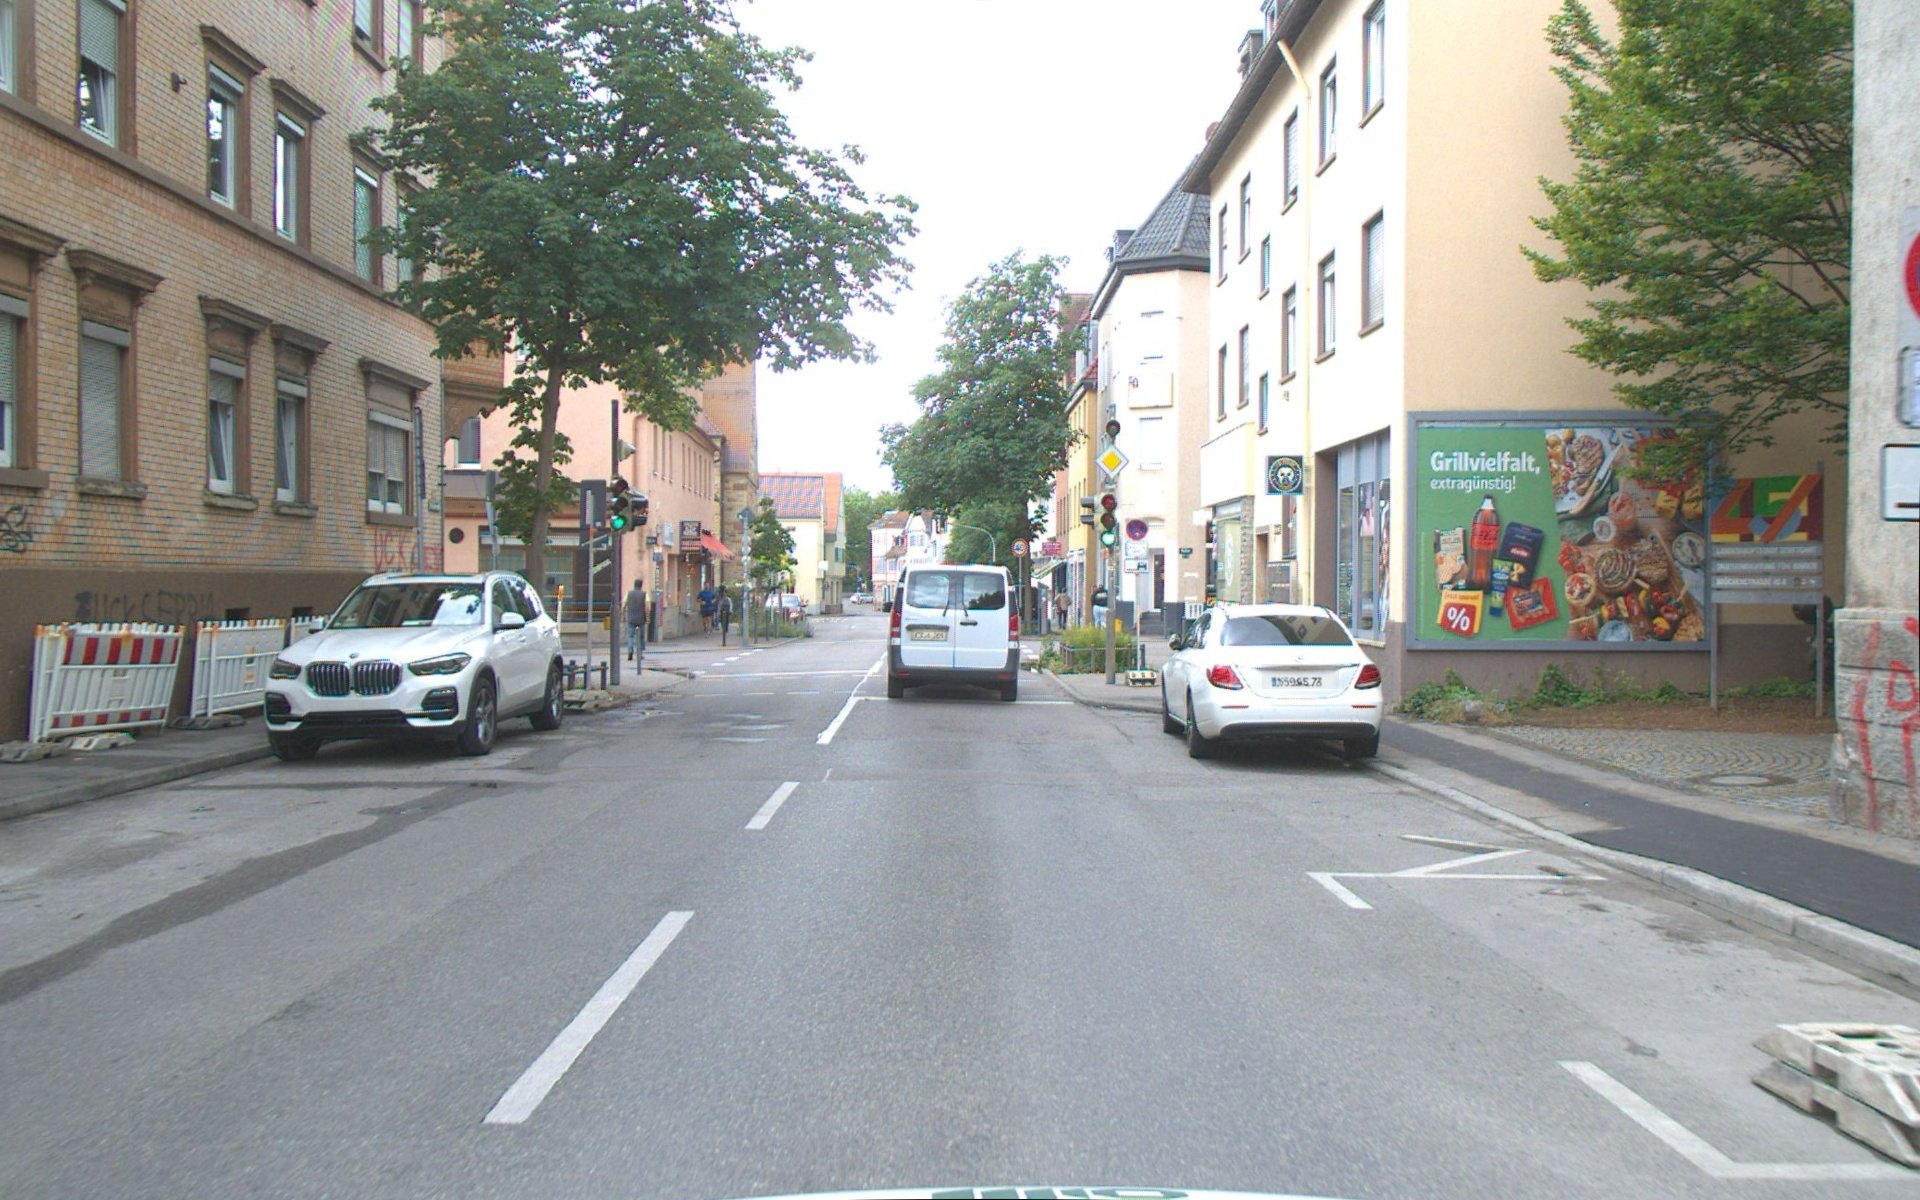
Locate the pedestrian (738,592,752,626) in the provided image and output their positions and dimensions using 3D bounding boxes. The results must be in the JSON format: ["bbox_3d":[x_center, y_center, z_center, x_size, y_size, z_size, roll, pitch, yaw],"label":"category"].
[{"bbox_3d":[-10.000,0.408,76.990,0.559,1.581,0.696,1,0,-2],"label":"pedestrian"}]

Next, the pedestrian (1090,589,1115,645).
[{"bbox_3d":[4.373,0.518,50.787,0.602,1.682,0.982,0,0,-3],"label":"pedestrian"}]

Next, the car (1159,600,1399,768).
[{"bbox_3d":[3.162,0.753,17.291,1.731,1.491,4.784,0,0,2],"label":"car"}]

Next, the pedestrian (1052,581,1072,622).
[{"bbox_3d":[4.194,0.063,68.105,0.687,1.678,0.888,-1,0,-3],"label":"pedestrian"}]

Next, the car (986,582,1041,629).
[{"bbox_3d":[2.116,0.230,66.151,1.783,1.812,4.399,0,0,-4],"label":"car"}]

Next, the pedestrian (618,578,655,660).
[{"bbox_3d":[-7.123,0.418,36.442,0.724,1.785,0.981,0,0,-6],"label":"pedestrian"}]

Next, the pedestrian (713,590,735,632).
[{"bbox_3d":[-8.795,0.392,61.734,0.724,1.561,0.982,0,0,-3],"label":"pedestrian"}]

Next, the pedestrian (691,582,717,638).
[{"bbox_3d":[-8.135,0.303,52.558,0.724,1.748,1.155,0,0,-4],"label":"pedestrian"}]

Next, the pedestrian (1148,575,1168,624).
[{"bbox_3d":[6.542,-0.017,54.646,0.555,1.588,0.520,1,-1,-2],"label":"pedestrian"}]

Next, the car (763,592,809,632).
[{"bbox_3d":[-7.464,0.481,71.091,1.669,1.601,4.448,-2,0,-3],"label":"car"}]

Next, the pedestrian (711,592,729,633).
[{"bbox_3d":[-9.865,0.511,68.013,0.717,1.657,0.756,0,0,-12],"label":"pedestrian"}]

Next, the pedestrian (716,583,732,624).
[{"bbox_3d":[-10.933,0.163,76.579,0.559,1.880,0.696,3,0,-2],"label":"pedestrian"}]

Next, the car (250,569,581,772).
[{"bbox_3d":[-5.396,0.616,17.109,1.852,1.742,4.740,-2,0,-1],"label":"car"}]

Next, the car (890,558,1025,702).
[{"bbox_3d":[-0.081,0.407,24.375,1.835,1.945,3.999,0,0,-1],"label":"car"}]

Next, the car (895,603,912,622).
[{"bbox_3d":[-6.386,1.386,186.684,1.896,2.049,3.997,1,-1,-3],"label":"car"}]

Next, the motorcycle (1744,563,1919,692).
[{"bbox_3d":[10.371,0.312,19.353,1.954,1.221,0.674,-8,0,-3],"label":"motorcycle"}]
